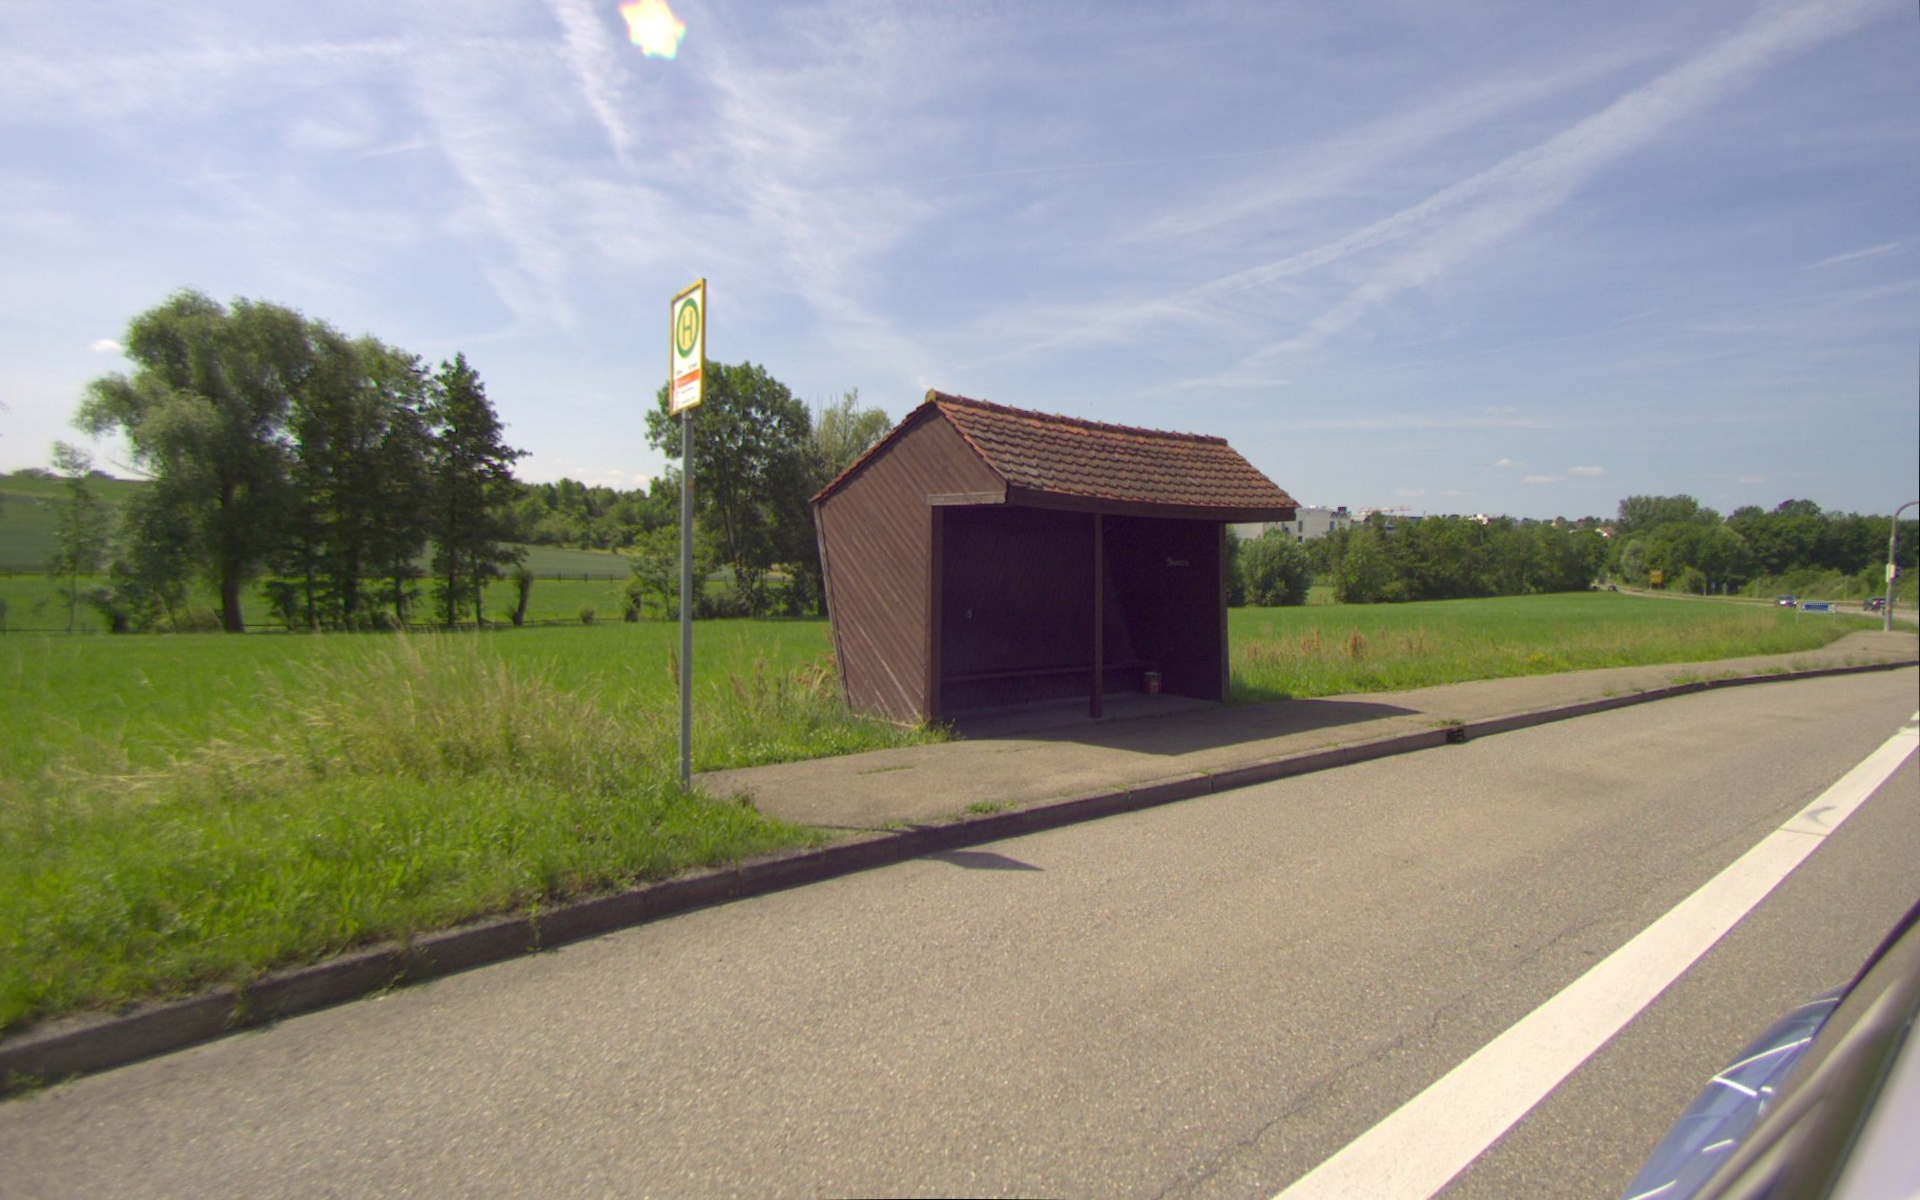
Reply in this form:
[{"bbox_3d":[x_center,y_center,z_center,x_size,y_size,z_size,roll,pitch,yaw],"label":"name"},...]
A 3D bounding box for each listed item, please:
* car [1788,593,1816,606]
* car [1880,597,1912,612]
[{"bbox_3d":[105.802,-0.103,127.239,1.982,1.605,3.959,-1,0,29],"label":"car"},{"bbox_3d":[100.241,0.440,108.423,1.784,1.493,4.259,0,0,33],"label":"car"}]
